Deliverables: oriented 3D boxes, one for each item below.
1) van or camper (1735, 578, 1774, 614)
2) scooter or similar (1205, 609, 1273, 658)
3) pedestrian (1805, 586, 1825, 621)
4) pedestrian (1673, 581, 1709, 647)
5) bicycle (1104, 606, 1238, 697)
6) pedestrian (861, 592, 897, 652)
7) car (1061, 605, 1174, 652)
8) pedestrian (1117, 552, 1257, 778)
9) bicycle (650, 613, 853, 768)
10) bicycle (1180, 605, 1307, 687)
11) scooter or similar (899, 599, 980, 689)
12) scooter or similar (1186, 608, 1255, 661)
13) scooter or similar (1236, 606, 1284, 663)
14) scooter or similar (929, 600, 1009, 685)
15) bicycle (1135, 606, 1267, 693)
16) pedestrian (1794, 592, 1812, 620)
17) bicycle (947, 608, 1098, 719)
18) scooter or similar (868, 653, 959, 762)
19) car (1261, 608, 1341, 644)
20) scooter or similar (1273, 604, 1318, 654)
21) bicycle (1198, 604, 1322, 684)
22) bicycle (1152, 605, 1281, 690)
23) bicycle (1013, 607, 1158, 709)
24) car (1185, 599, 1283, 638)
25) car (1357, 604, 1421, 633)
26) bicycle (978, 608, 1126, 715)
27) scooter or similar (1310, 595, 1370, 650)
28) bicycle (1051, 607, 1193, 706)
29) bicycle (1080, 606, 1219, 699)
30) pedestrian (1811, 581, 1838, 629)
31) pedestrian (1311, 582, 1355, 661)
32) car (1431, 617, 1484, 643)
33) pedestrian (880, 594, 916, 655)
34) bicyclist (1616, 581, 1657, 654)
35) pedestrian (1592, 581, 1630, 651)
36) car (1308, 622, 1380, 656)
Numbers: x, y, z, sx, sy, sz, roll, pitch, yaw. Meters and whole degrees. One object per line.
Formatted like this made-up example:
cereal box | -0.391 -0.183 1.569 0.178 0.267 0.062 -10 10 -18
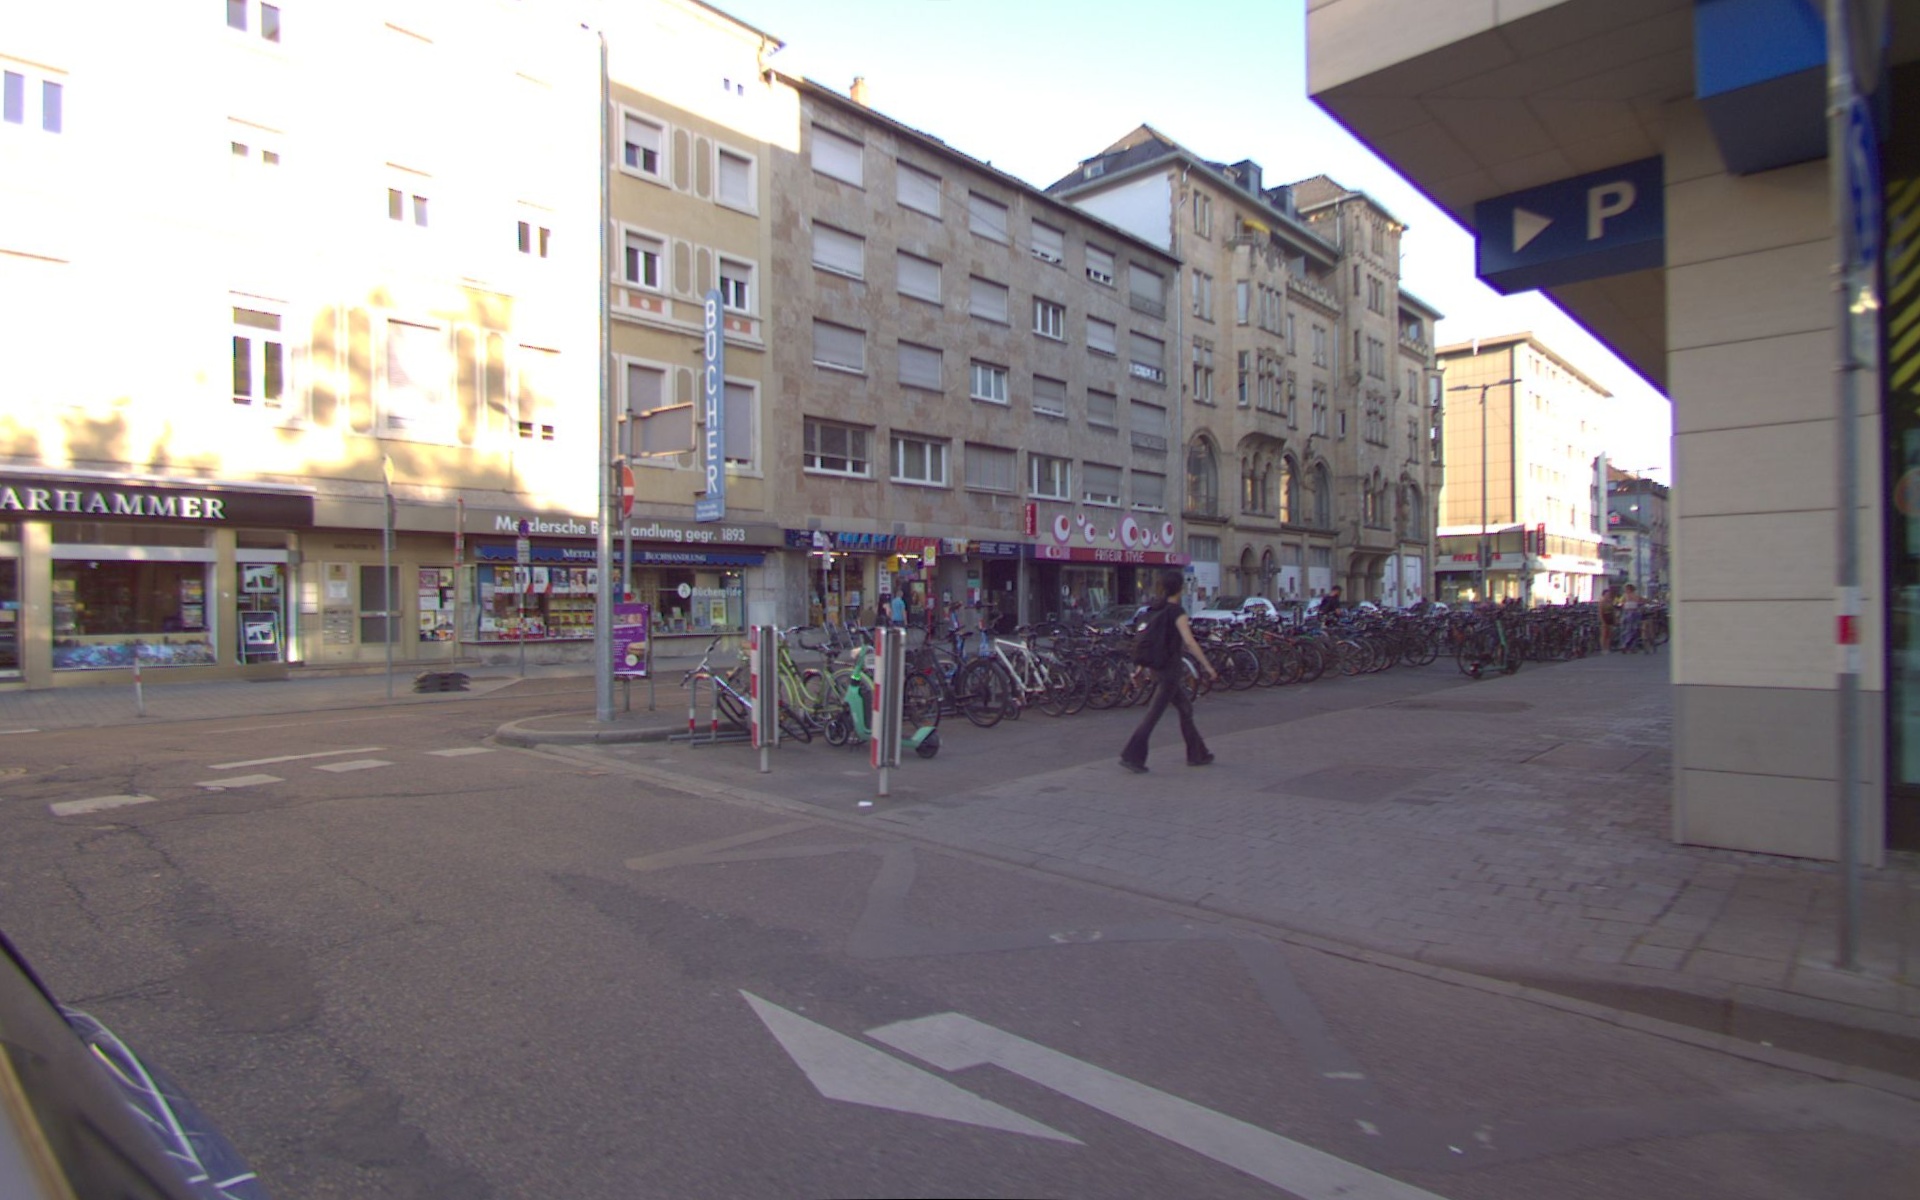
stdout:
van or camper | 75.271 -0.359 95.868 5.083 3.298 2.003 0 -1 -41
scooter or similar | 5.559 0.656 20.220 1.270 0.949 0.382 0 0 42
pedestrian | 41.432 0.183 49.035 0.684 1.673 0.635 -1 -1 42
pedestrian | 19.425 0.373 26.892 0.684 1.708 0.635 -1 -1 42
bicycle | 3.113 0.727 15.096 1.978 1.264 0.506 0 0 42
pedestrian | -2.358 0.640 29.522 0.665 1.720 0.792 -1 -1 43
car | 5.181 0.888 32.970 1.862 1.401 3.947 -1 -1 40
pedestrian | 1.758 0.477 7.896 0.857 1.670 0.620 -1 0 -13
bicycle | -1.981 0.770 9.403 2.139 1.264 0.657 0 0 40
bicycle | 4.586 0.713 16.496 1.978 1.264 0.506 0 0 42
scooter or similar | -0.309 0.629 14.876 1.270 1.270 0.382 0 0 42
scooter or similar | 5.073 0.659 19.759 1.270 0.999 0.382 0 0 42
scooter or similar | 6.907 0.777 23.309 1.252 1.252 0.516 0 0 -44
scooter or similar | 0.125 0.617 15.261 1.270 1.221 0.382 0 0 42
bicycle | 3.685 0.722 15.619 1.978 1.264 0.506 0 0 42
pedestrian | 43.590 0.293 52.337 0.684 1.436 0.635 -1 -1 42
bicycle | 0.742 0.744 12.557 1.978 1.264 0.506 0 0 42
scooter or similar | -0.420 0.940 9.084 0.770 0.891 0.382 0 0 42
car | 14.405 1.059 42.625 1.862 1.401 3.947 -1 -1 40
scooter or similar | 8.227 0.699 24.808 1.252 1.190 0.516 0 0 -44
bicycle | 5.020 0.709 17.013 1.978 1.264 0.506 0 0 42
bicycle | 4.053 0.718 16.095 1.978 1.264 0.506 0 0 42
bicycle | 1.635 0.727 13.462 1.978 1.264 0.506 0 0 42
car | 10.486 0.670 38.519 1.862 1.401 4.561 -1 -1 40
car | 21.268 0.899 50.082 1.862 1.401 3.947 -1 -1 40
bicycle | 1.142 0.741 12.955 1.978 1.264 0.506 0 0 42
scooter or similar | 8.871 0.520 23.644 1.270 1.252 0.382 0 0 42
bicycle | 2.200 0.737 13.967 1.978 1.264 0.506 0 0 42
bicycle | 2.705 0.723 14.624 1.977 1.264 0.506 0 0 40
pedestrian | 30.893 0.174 36.175 0.684 1.708 0.635 -1 -1 42
pedestrian | 8.203 0.466 22.276 0.635 1.708 0.685 0 -1 -44
car | 29.031 1.745 58.994 1.862 1.401 3.947 -1 -1 40
pedestrian | -1.781 0.699 29.145 0.665 1.720 0.792 -1 -1 43
bicyclist | 15.981 0.407 23.911 0.684 1.708 0.635 -1 -1 43
pedestrian | 16.328 0.399 25.382 0.684 1.708 0.635 -1 -1 42
car | 17.455 1.723 45.878 1.862 1.401 3.947 -1 -1 40
